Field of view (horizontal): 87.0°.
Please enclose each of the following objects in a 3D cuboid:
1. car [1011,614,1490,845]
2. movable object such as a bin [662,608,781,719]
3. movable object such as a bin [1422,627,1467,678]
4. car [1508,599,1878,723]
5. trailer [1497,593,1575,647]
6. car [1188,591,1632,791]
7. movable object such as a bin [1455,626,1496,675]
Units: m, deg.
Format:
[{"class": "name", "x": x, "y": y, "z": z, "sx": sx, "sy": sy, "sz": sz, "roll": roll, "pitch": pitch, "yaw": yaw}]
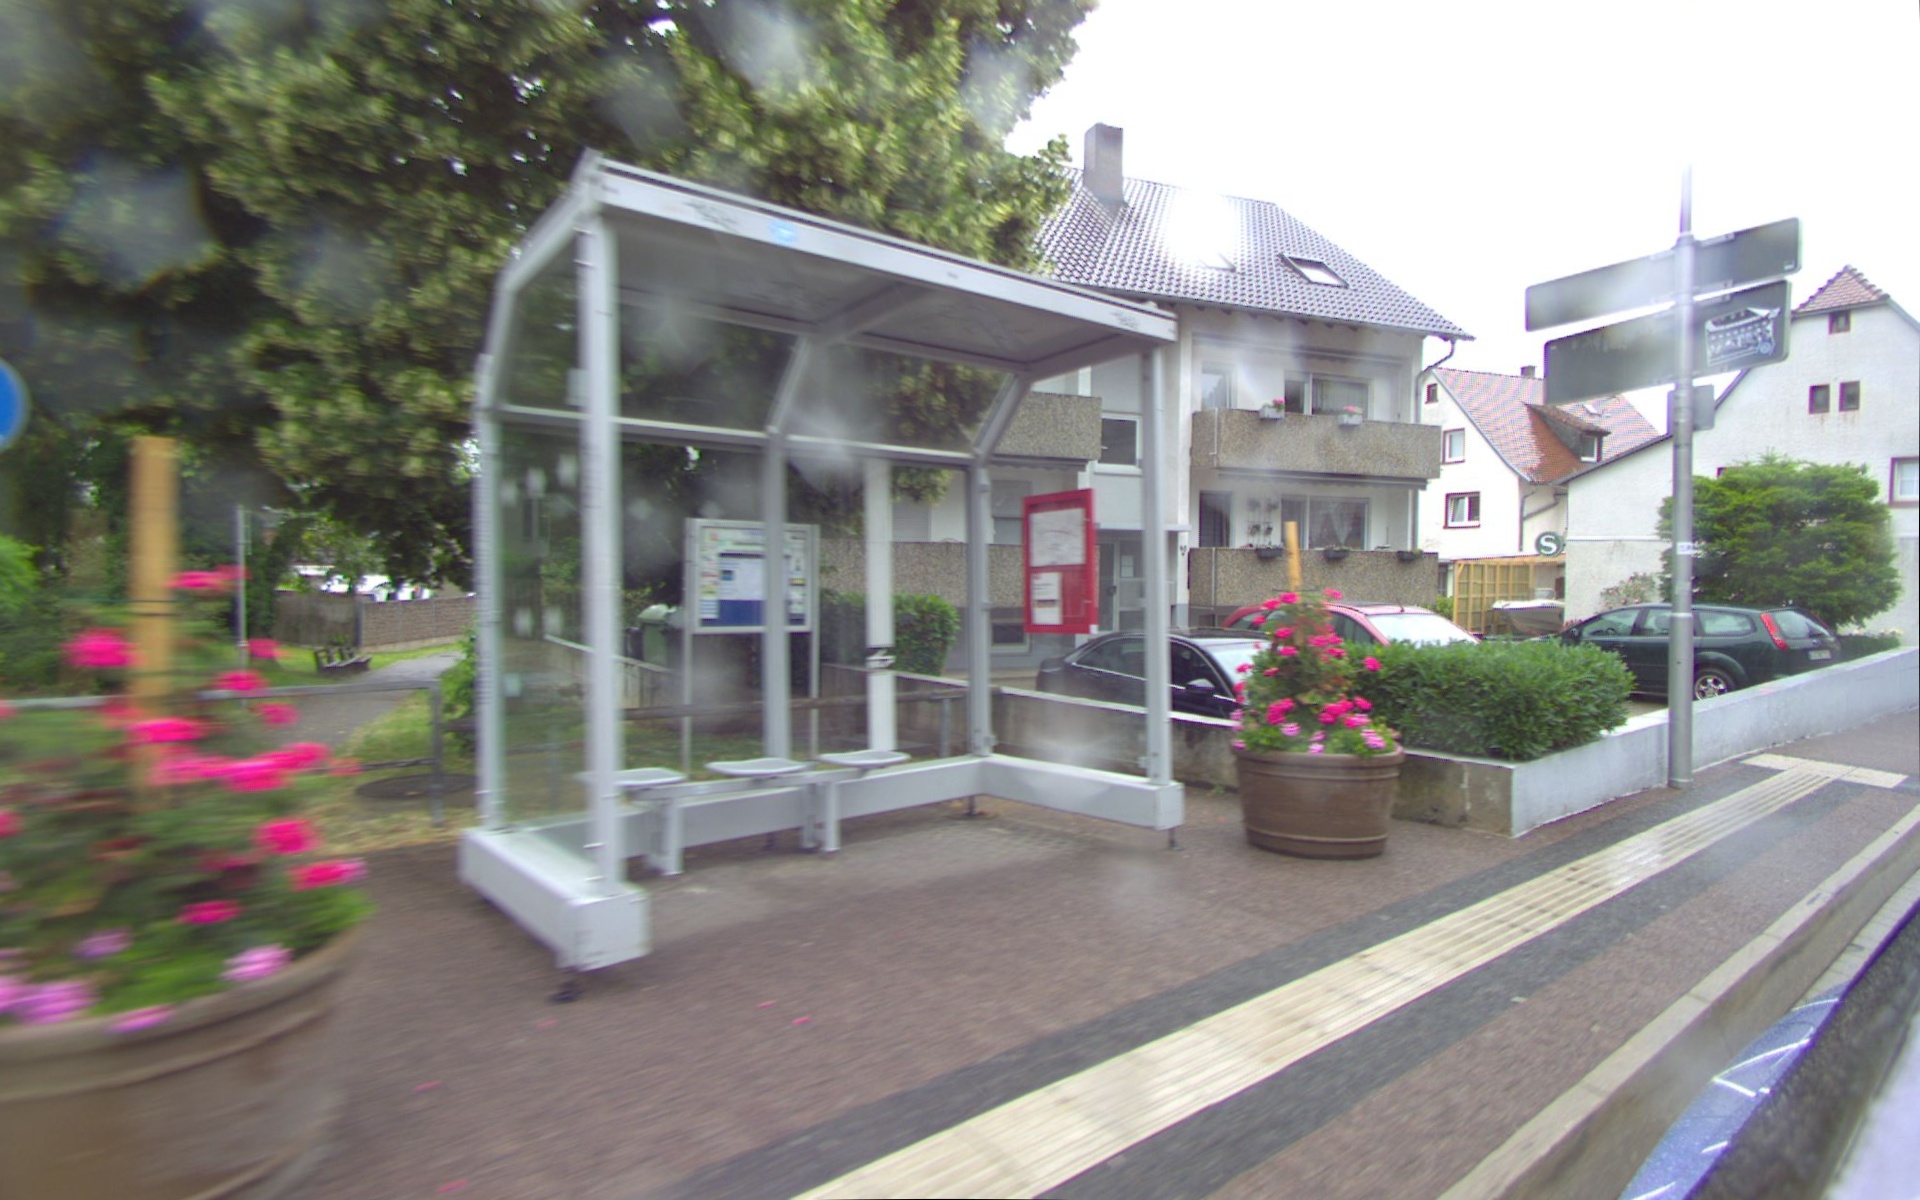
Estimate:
[{"class": "car", "x": 2.293, "y": 0.908, "z": 9.019, "sx": 1.717, "sy": 1.395, "sz": 3.968, "roll": 1, "pitch": 1, "yaw": -31}, {"class": "movable object such as a bin", "x": -3.193, "y": 0.800, "z": 13.513, "sx": 1.134, "sy": 1.375, "sz": 1.245, "roll": 1, "pitch": 0, "yaw": -38}, {"class": "movable object such as a bin", "x": 11.089, "y": 1.191, "z": 23.161, "sx": 0.676, "sy": 1.132, "sz": 0.627, "roll": 0, "pitch": -1, "yaw": -17}, {"class": "car", "x": 10.789, "y": 0.782, "z": 15.303, "sx": 1.660, "sy": 1.499, "sz": 4.250, "roll": 0, "pitch": 1, "yaw": -24}, {"class": "trailer", "x": 19.601, "y": 0.656, "z": 34.428, "sx": 2.565, "sy": 1.764, "sz": 1.571, "roll": 1, "pitch": 0, "yaw": -41}, {"class": "car", "x": 4.441, "y": 0.750, "z": 10.711, "sx": 1.819, "sy": 1.609, "sz": 4.089, "roll": 0, "pitch": 1, "yaw": -25}, {"class": "movable object such as a bin", "x": 11.816, "y": 1.152, "z": 23.199, "sx": 0.558, "sy": 1.080, "sz": 0.626, "roll": 0, "pitch": 0, "yaw": -13}]
